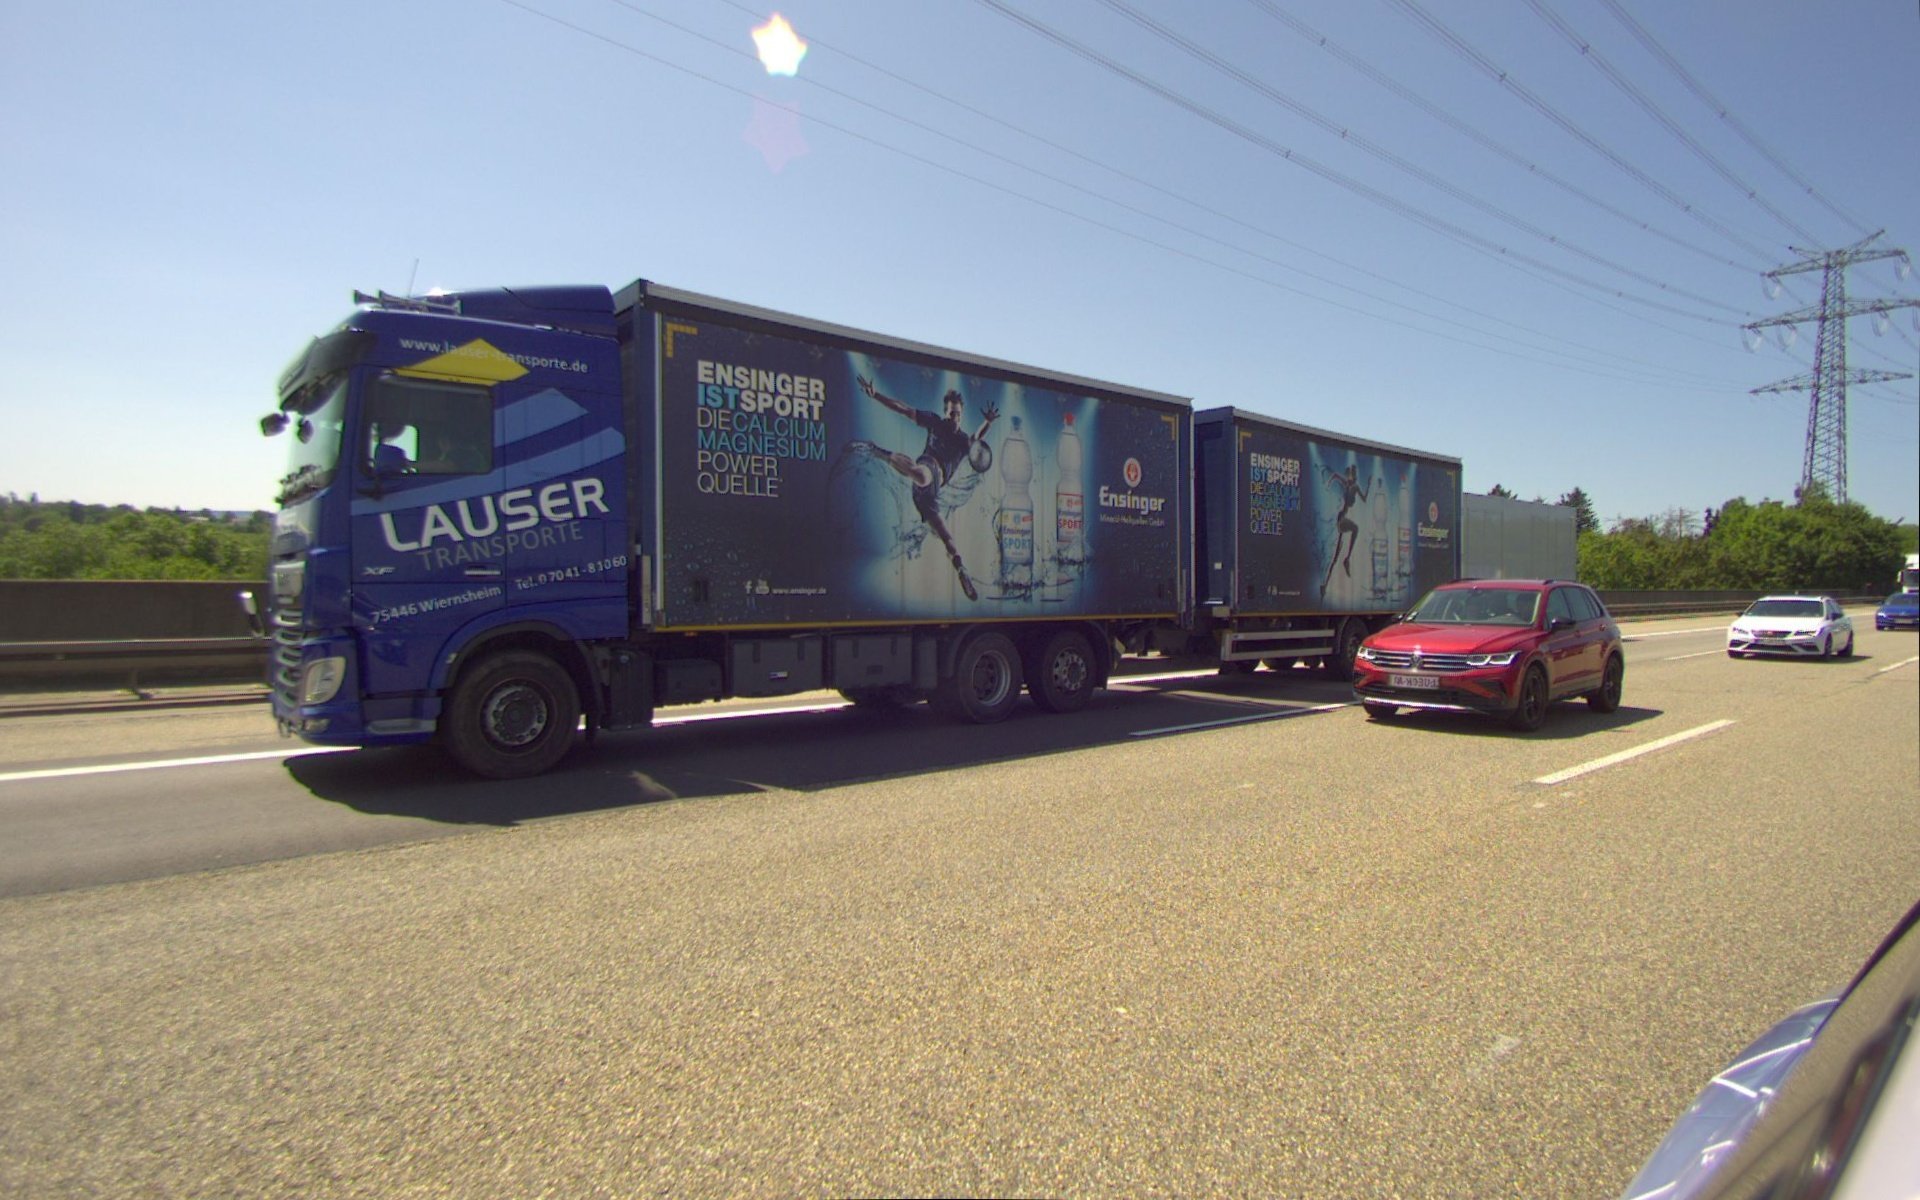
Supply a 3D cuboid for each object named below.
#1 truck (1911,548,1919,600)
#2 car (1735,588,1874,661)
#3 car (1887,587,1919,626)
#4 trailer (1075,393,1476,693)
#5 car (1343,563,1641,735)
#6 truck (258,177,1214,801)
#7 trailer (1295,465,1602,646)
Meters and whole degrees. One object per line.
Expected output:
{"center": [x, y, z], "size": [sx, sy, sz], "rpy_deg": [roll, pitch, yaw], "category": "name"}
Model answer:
{"center": [70.692, -1.838, 72.290], "size": [10.778, 3.604, 2.982], "rpy_deg": [-1, 1, -41], "category": "truck"}
{"center": [19.341, 0.498, 23.129], "size": [4.001, 1.508, 1.841], "rpy_deg": [-1, 1, -41], "category": "car"}
{"center": [37.668, 0.233, 39.429], "size": [4.135, 1.463, 1.739], "rpy_deg": [-1, 1, -40], "category": "car"}
{"center": [5.718, -0.804, 17.196], "size": [8.332, 3.994, 2.570], "rpy_deg": [-1, 0, -41], "category": "trailer"}
{"center": [6.392, 0.449, 11.966], "size": [4.151, 1.682, 1.778], "rpy_deg": [-1, 1, -42], "category": "car"}
{"center": [-1.294, -0.777, 11.027], "size": [10.265, 4.118, 2.527], "rpy_deg": [0, 0, -41], "category": "truck"}
{"center": [14.329, -1.092, 28.637], "size": [13.529, 4.171, 2.540], "rpy_deg": [-1, 0, -40], "category": "trailer"}
